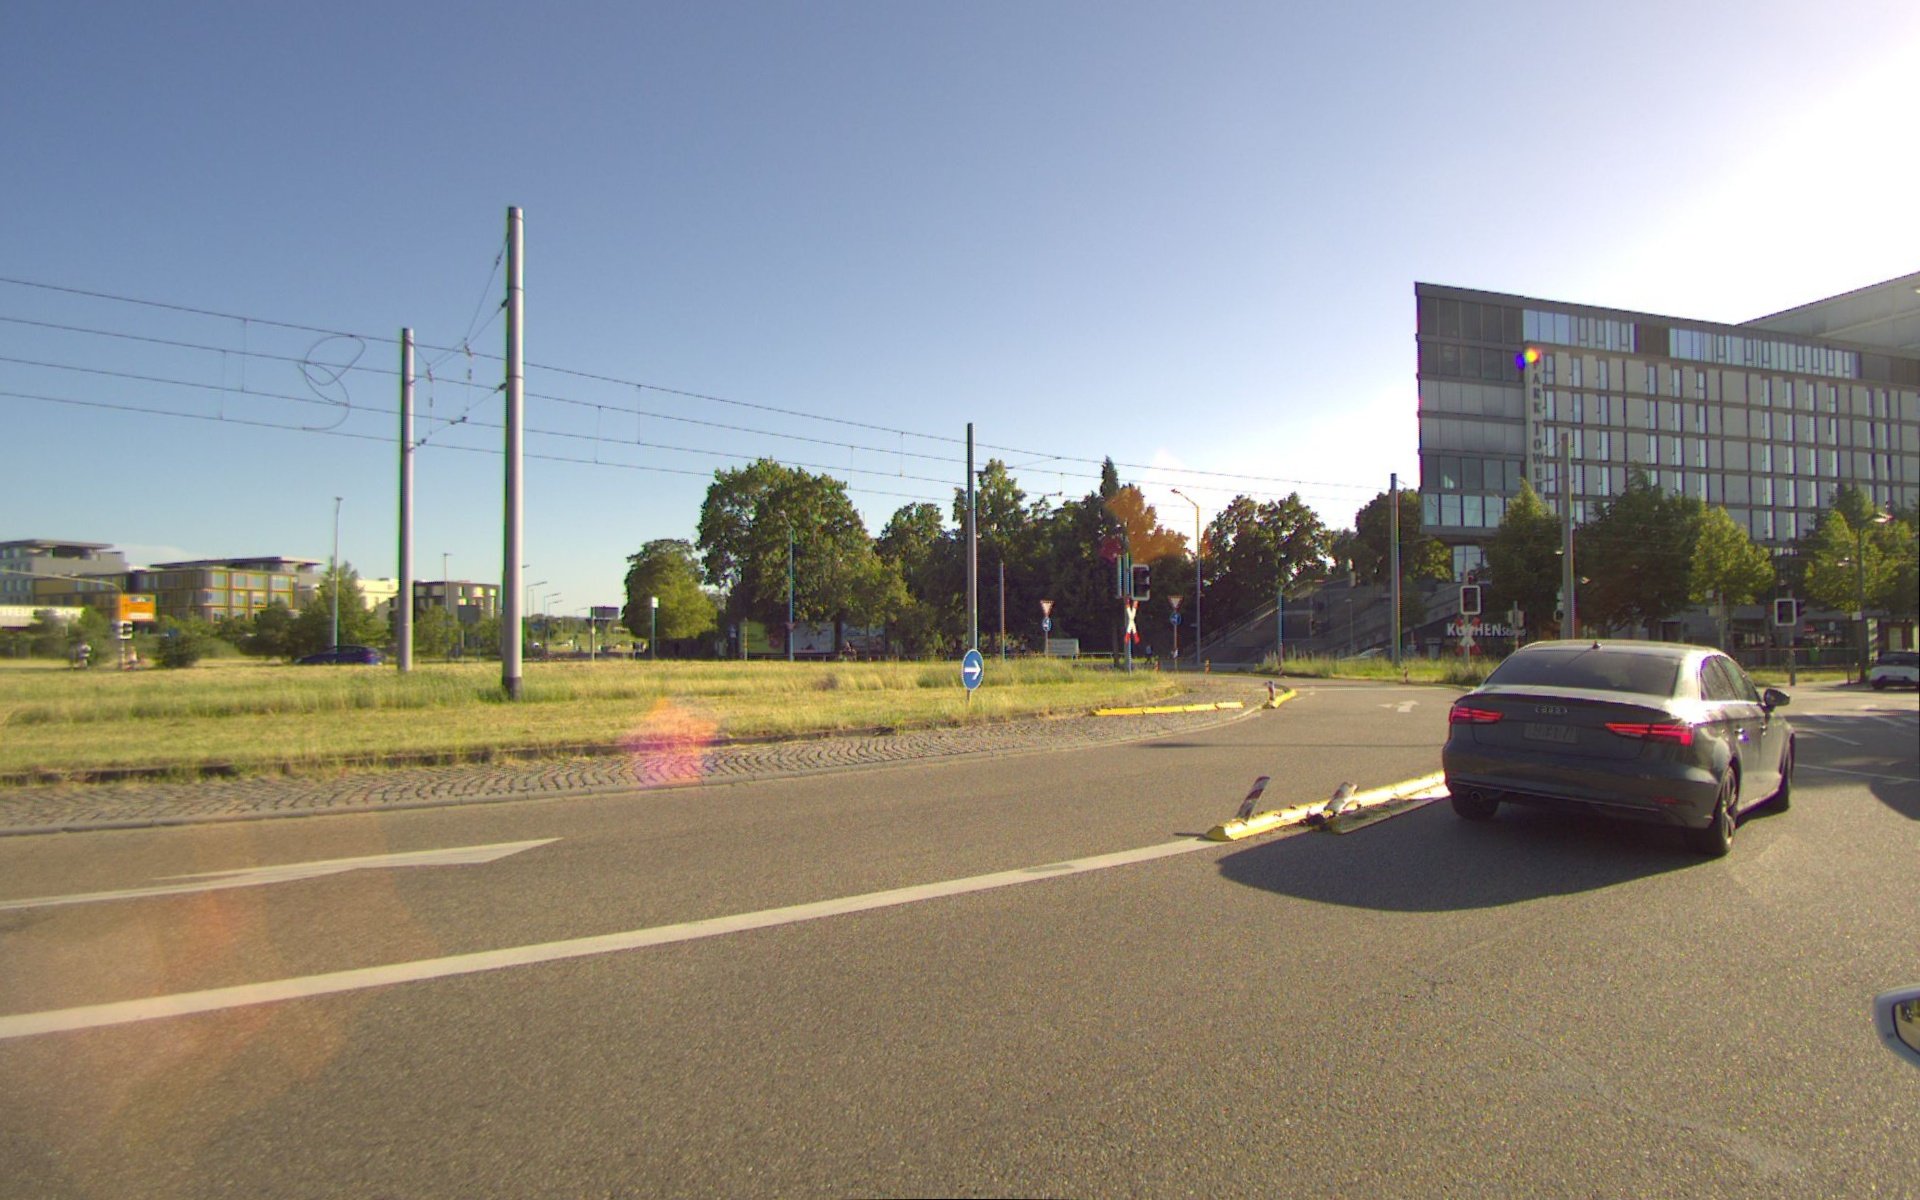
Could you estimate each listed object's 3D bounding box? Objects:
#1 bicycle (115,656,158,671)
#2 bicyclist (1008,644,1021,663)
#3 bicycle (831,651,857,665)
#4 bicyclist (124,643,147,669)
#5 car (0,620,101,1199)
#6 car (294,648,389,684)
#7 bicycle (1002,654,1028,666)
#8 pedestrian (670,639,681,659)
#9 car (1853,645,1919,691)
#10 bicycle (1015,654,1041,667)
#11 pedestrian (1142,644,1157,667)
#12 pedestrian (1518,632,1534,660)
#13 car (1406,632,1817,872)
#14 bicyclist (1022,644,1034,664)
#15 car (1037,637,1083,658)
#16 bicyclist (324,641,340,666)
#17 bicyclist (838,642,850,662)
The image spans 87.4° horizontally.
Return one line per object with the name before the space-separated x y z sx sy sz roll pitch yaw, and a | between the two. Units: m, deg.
bicycle | -49.961 3.842 60.958 0.606 0.864 1.885 -2 -2 30
bicyclist | 4.098 4.035 75.630 0.826 1.410 0.614 0 -2 -24
bicycle | -8.691 4.332 75.195 1.833 1.025 0.587 0 -1 3
bicyclist | -49.988 3.371 60.924 0.606 1.537 0.924 -2 -2 30
car | -4.559 0.766 1.273 4.936 1.462 1.792 0 -1 -17
car | -32.657 3.456 53.114 3.848 1.808 1.772 0 -2 -11
bicycle | 4.140 4.517 75.611 1.863 0.864 0.613 0 -2 -25
pedestrian | -28.653 4.938 101.209 0.889 2.040 0.814 1 -2 -24
car | 33.429 2.354 35.119 3.752 1.481 1.800 1 -1 -21
bicycle | 5.089 4.506 74.837 1.863 0.864 0.613 0 -2 -25
pedestrian | 13.627 4.002 72.223 0.748 1.651 0.883 0 -2 -15
pedestrian | 41.785 3.359 74.117 0.820 2.040 0.638 0 -1 -17
car | 5.419 0.974 8.103 4.326 1.398 1.744 1 -2 -42
bicyclist | 5.074 4.024 74.864 0.709 1.410 0.614 0 -2 -24
car | 8.812 4.204 88.609 3.675 1.829 1.837 -2 -2 27
bicyclist | -41.488 3.515 66.397 0.824 1.601 0.658 0 -2 -27
bicyclist | -8.680 3.878 75.198 0.741 1.487 0.587 0 -1 3
